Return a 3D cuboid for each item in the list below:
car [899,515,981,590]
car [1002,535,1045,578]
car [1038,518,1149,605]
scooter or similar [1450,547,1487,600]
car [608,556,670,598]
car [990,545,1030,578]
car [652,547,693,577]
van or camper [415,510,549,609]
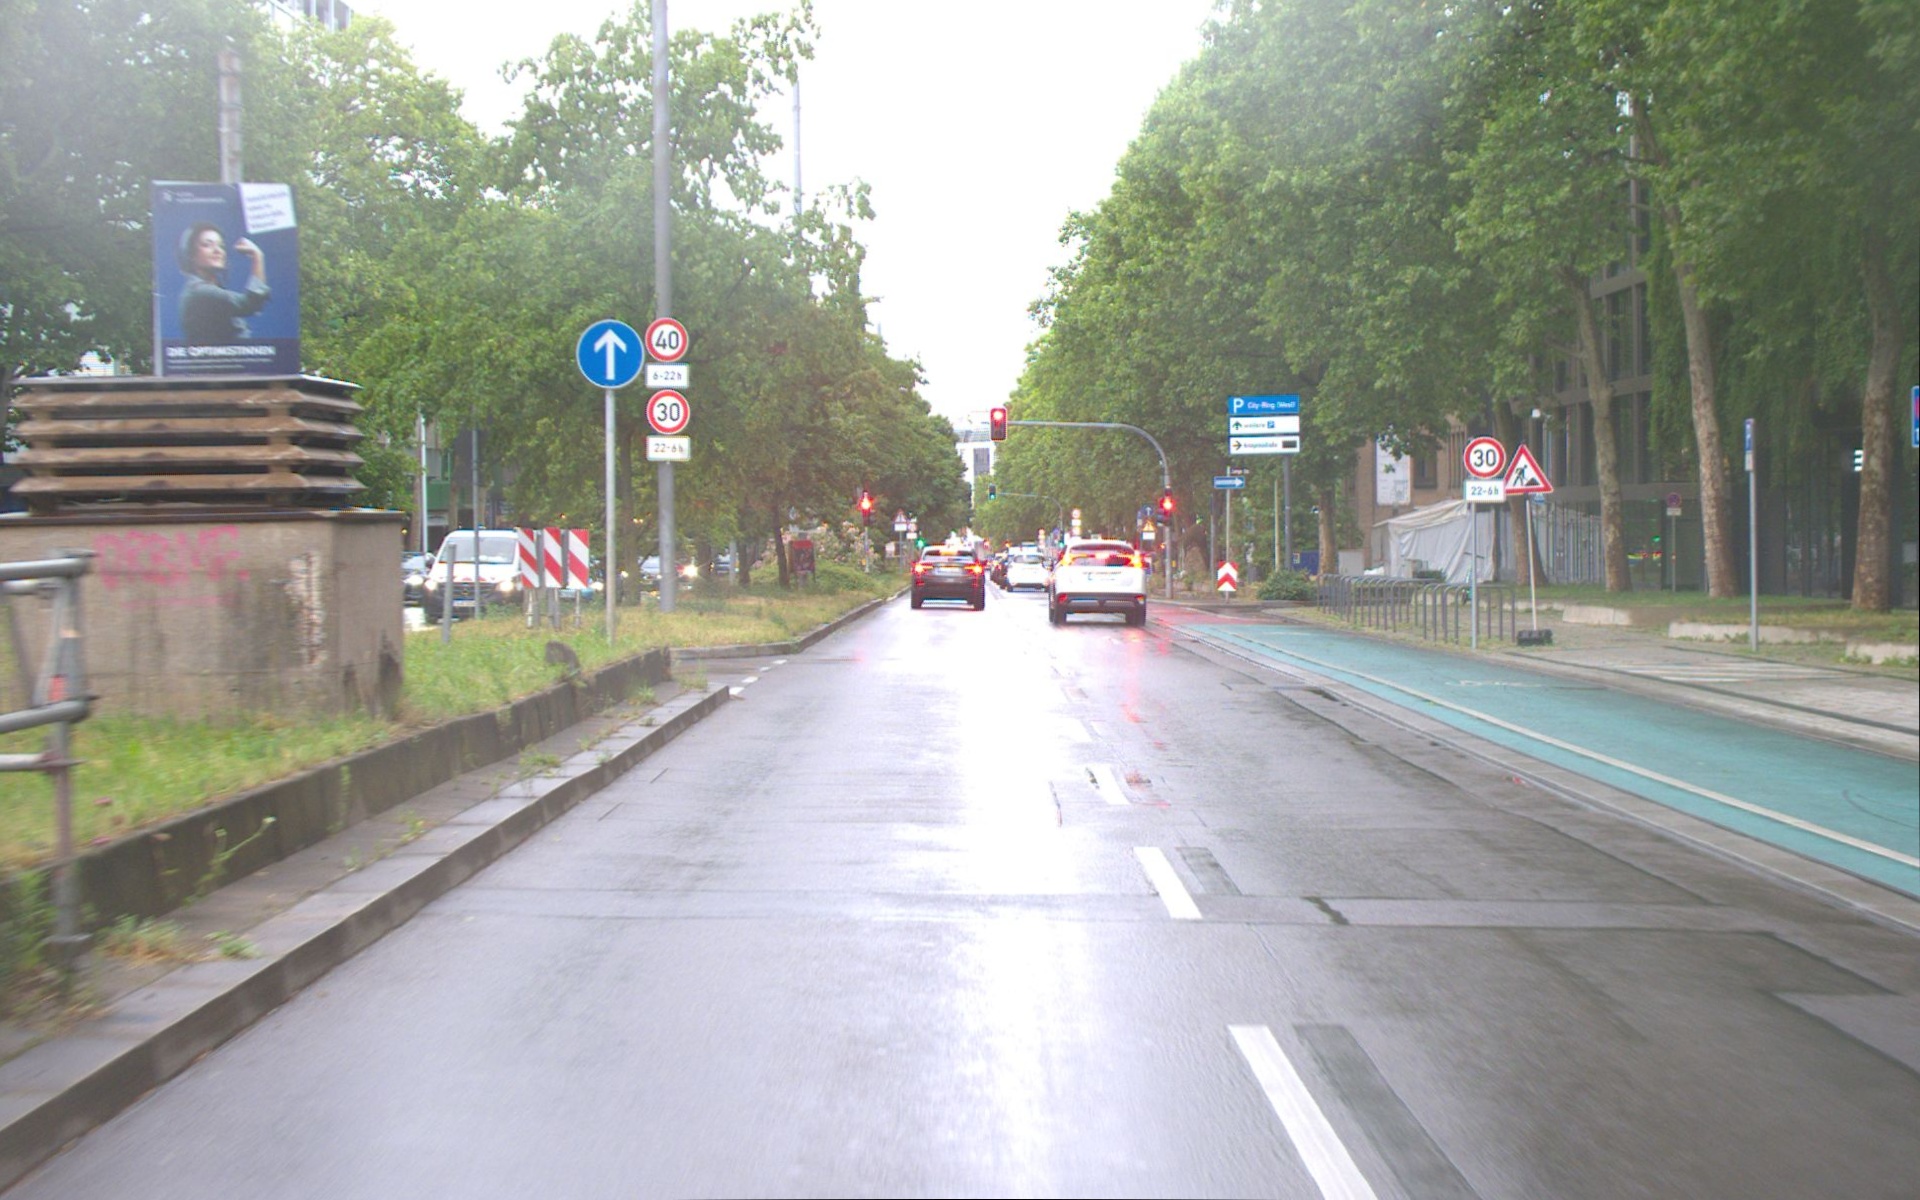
[{"bbox_3d":[-0.507,-1.209,86.134,1.993,1.827,4.000,0,1,0],"label":"car"},{"bbox_3d":[2.502,-1.716,135.499,1.620,1.660,4.000,0,1,0],"label":"car"},{"bbox_3d":[2.619,-0.797,68.382,1.993,1.649,4.889,0,1,0],"label":"car"},{"bbox_3d":[11.696,-0.615,79.094,0.381,1.224,1.077,1,1,36],"label":"scooter or similar"},{"bbox_3d":[-11.311,-0.825,121.236,1.843,1.424,3.643,0,1,0],"label":"car"},{"bbox_3d":[2.138,-1.644,147.007,1.620,1.369,4.000,0,1,0],"label":"car"},{"bbox_3d":[-13.800,-1.822,165.097,1.614,1.389,4.184,0,1,0],"label":"car"},{"bbox_3d":[-9.608,-0.859,69.456,1.993,1.907,5.252,0,1,0],"label":"van or camper"}]
